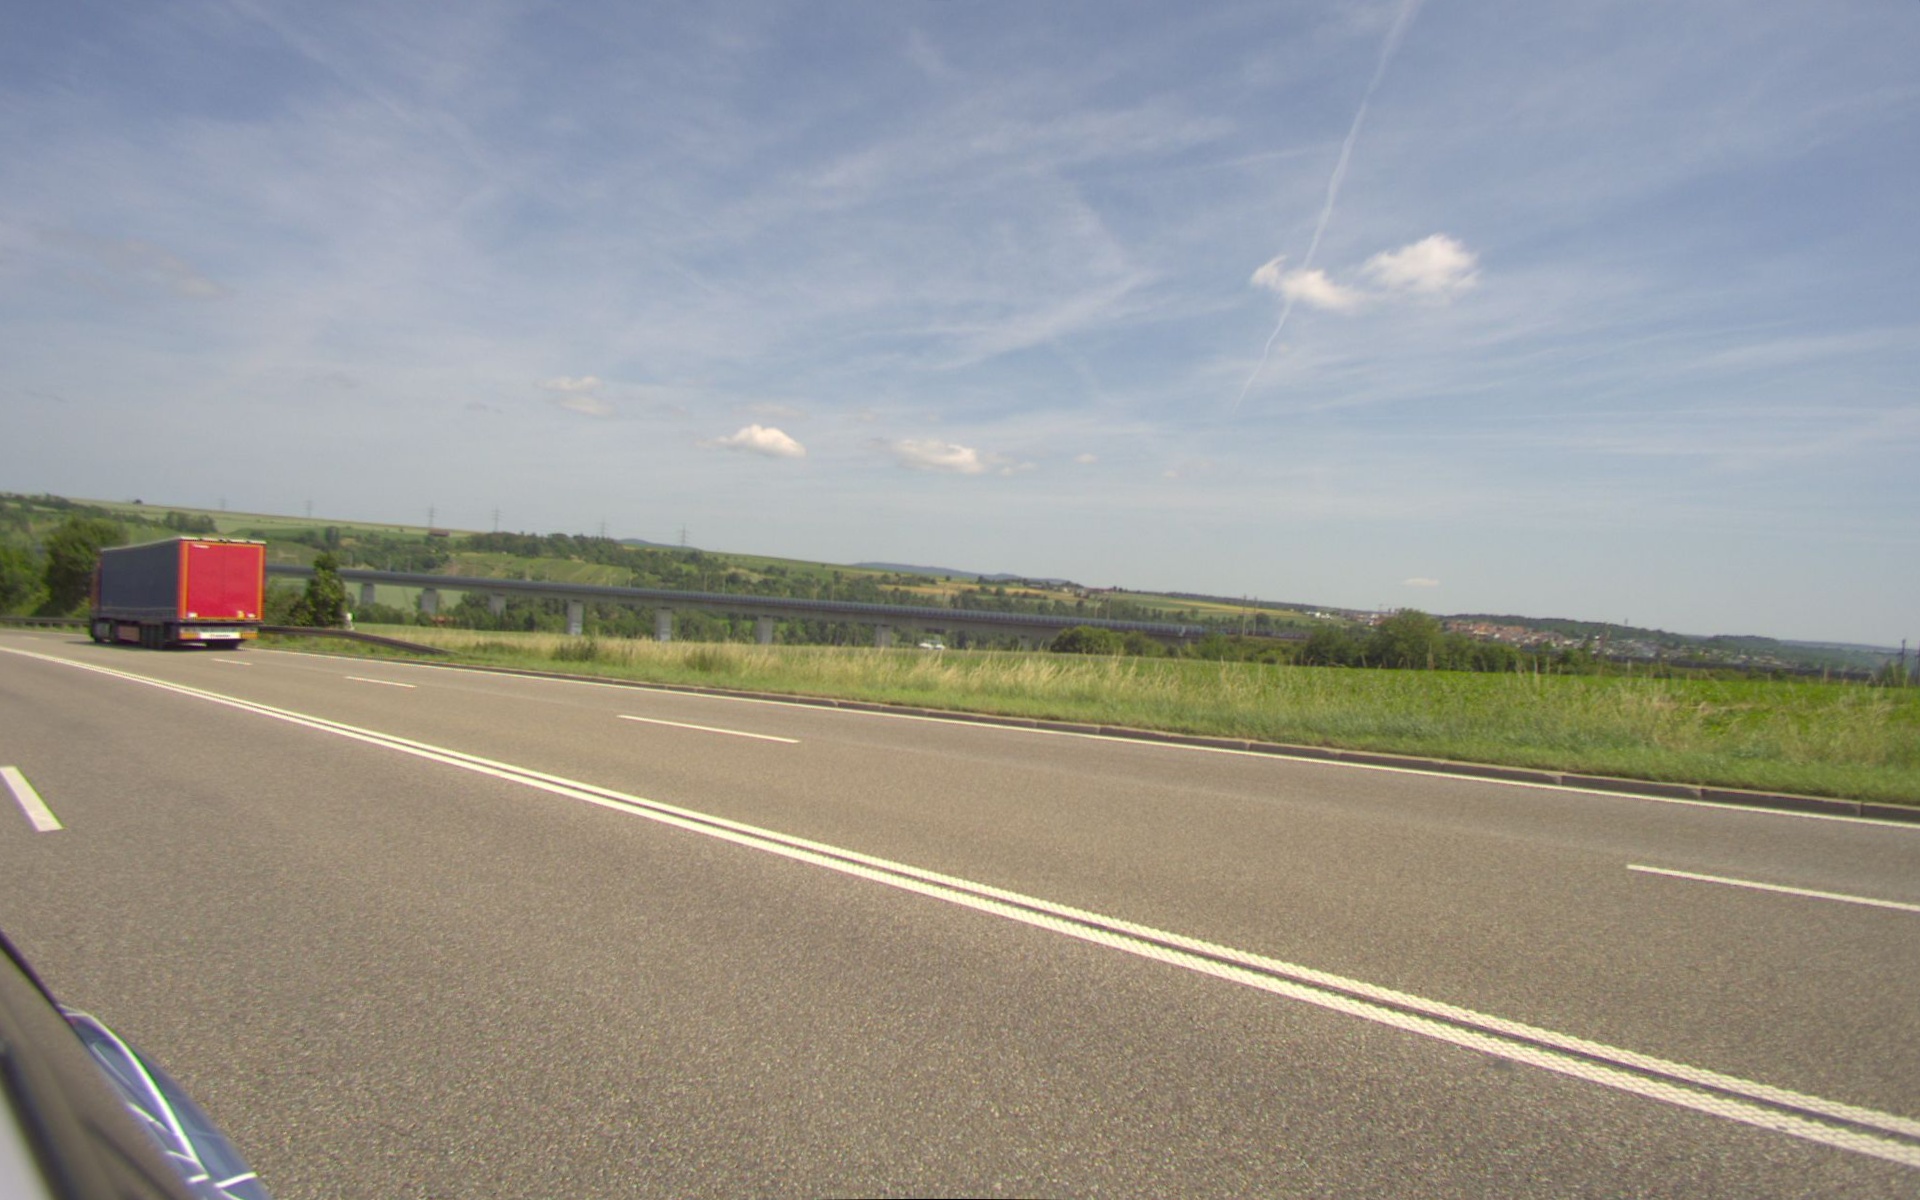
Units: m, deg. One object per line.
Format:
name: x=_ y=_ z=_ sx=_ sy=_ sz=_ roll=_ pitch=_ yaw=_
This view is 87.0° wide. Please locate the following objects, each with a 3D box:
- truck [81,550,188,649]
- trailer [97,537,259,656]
truck: x=-36.832 y=0.030 z=45.106 sx=6.085 sy=4.133 sz=2.590 roll=-1 pitch=-2 yaw=41
trailer: x=-31.571 y=-0.043 z=40.495 sx=13.576 sy=4.133 sz=2.518 roll=-1 pitch=-2 yaw=41
